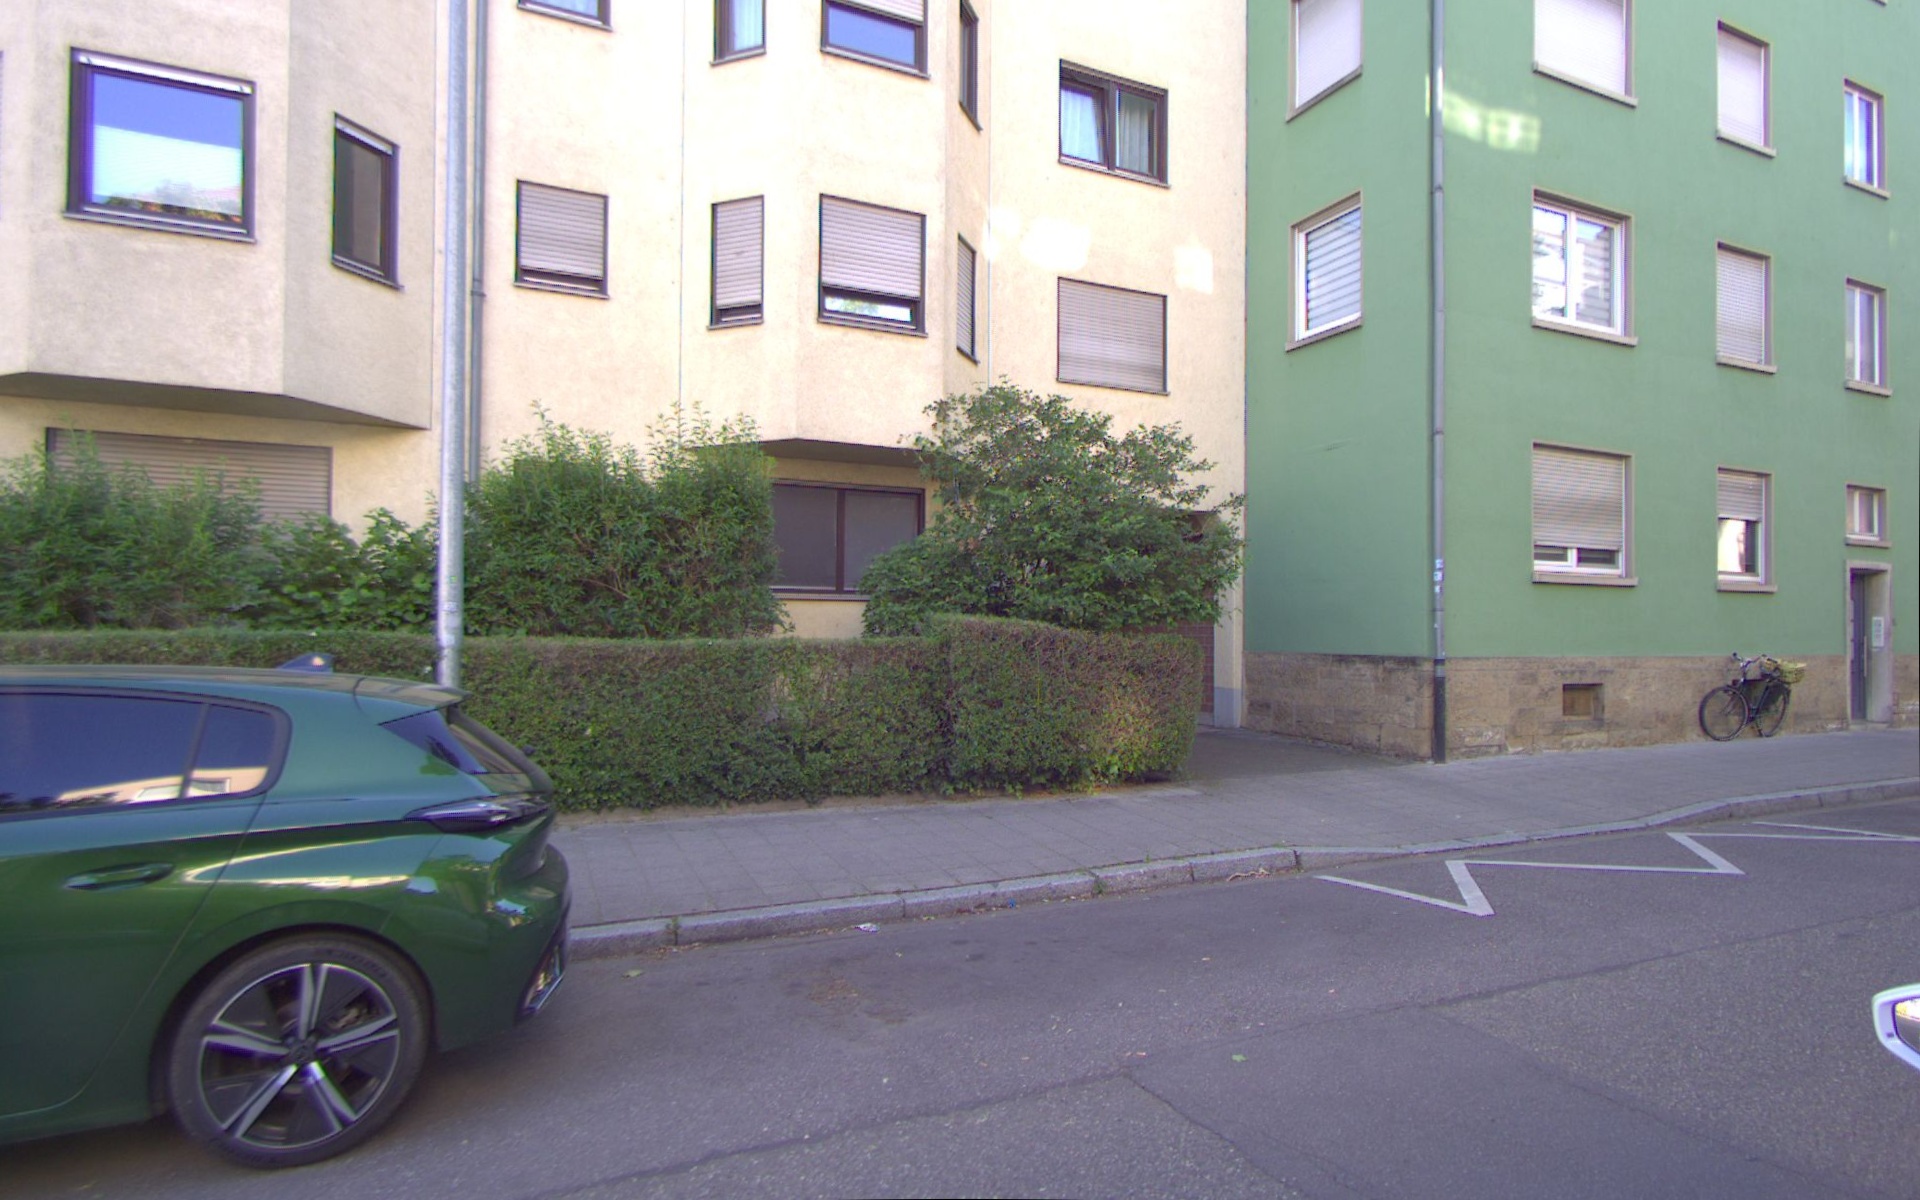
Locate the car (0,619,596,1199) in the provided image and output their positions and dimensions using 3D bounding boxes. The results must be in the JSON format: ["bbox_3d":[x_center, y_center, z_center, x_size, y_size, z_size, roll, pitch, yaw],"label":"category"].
[{"bbox_3d":[-3.357,0.842,3.063,4.080,1.516,1.748,1,-4,-26],"label":"car"}]

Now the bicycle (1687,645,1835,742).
[{"bbox_3d":[10.716,1.217,13.425,2.247,1.194,0.549,1,2,-24],"label":"bicycle"}]
